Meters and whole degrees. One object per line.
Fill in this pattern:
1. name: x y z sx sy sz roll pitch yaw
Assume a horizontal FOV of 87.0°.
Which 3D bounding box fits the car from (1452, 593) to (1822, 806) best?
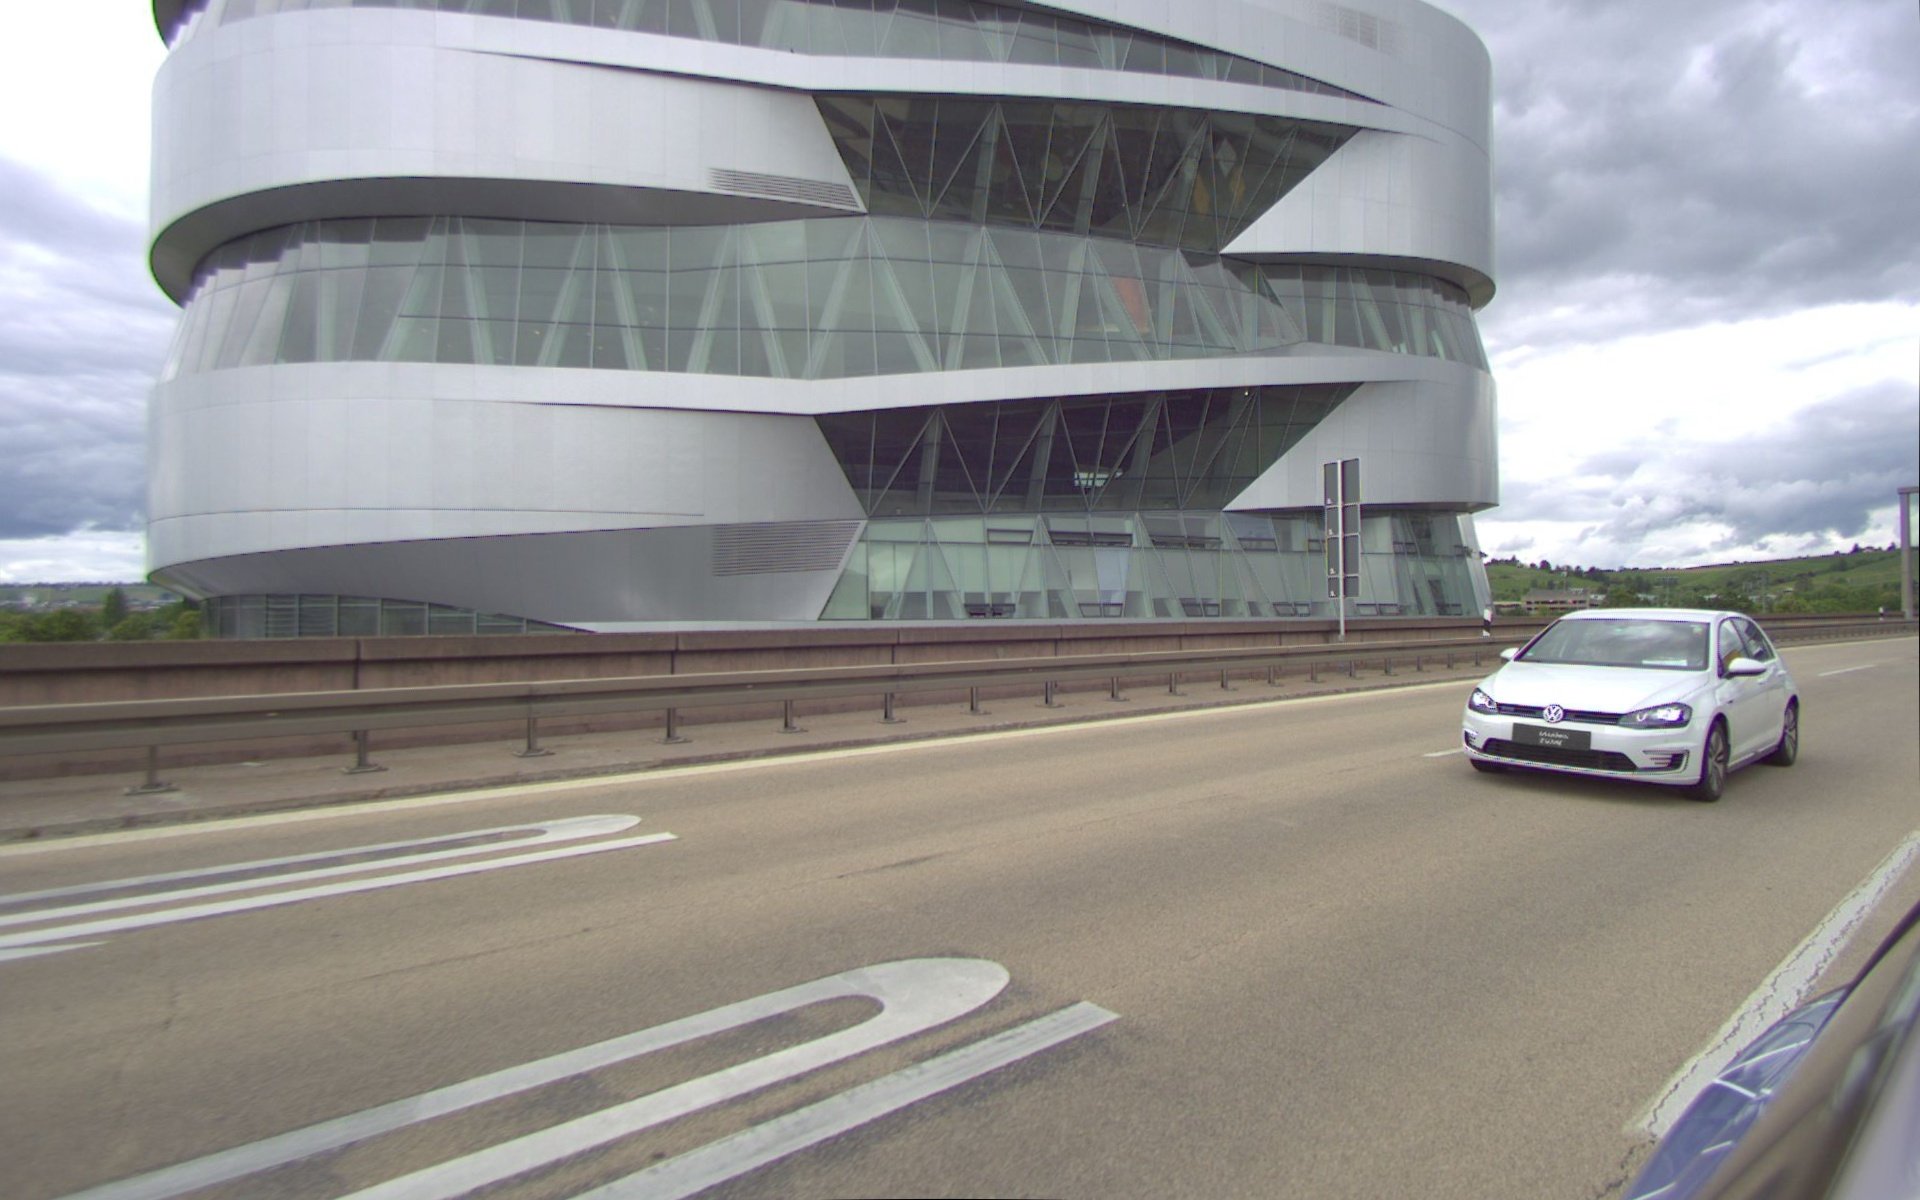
1. car: 6.163 0.689 9.039 4.001 1.470 1.757 0 1 -41
